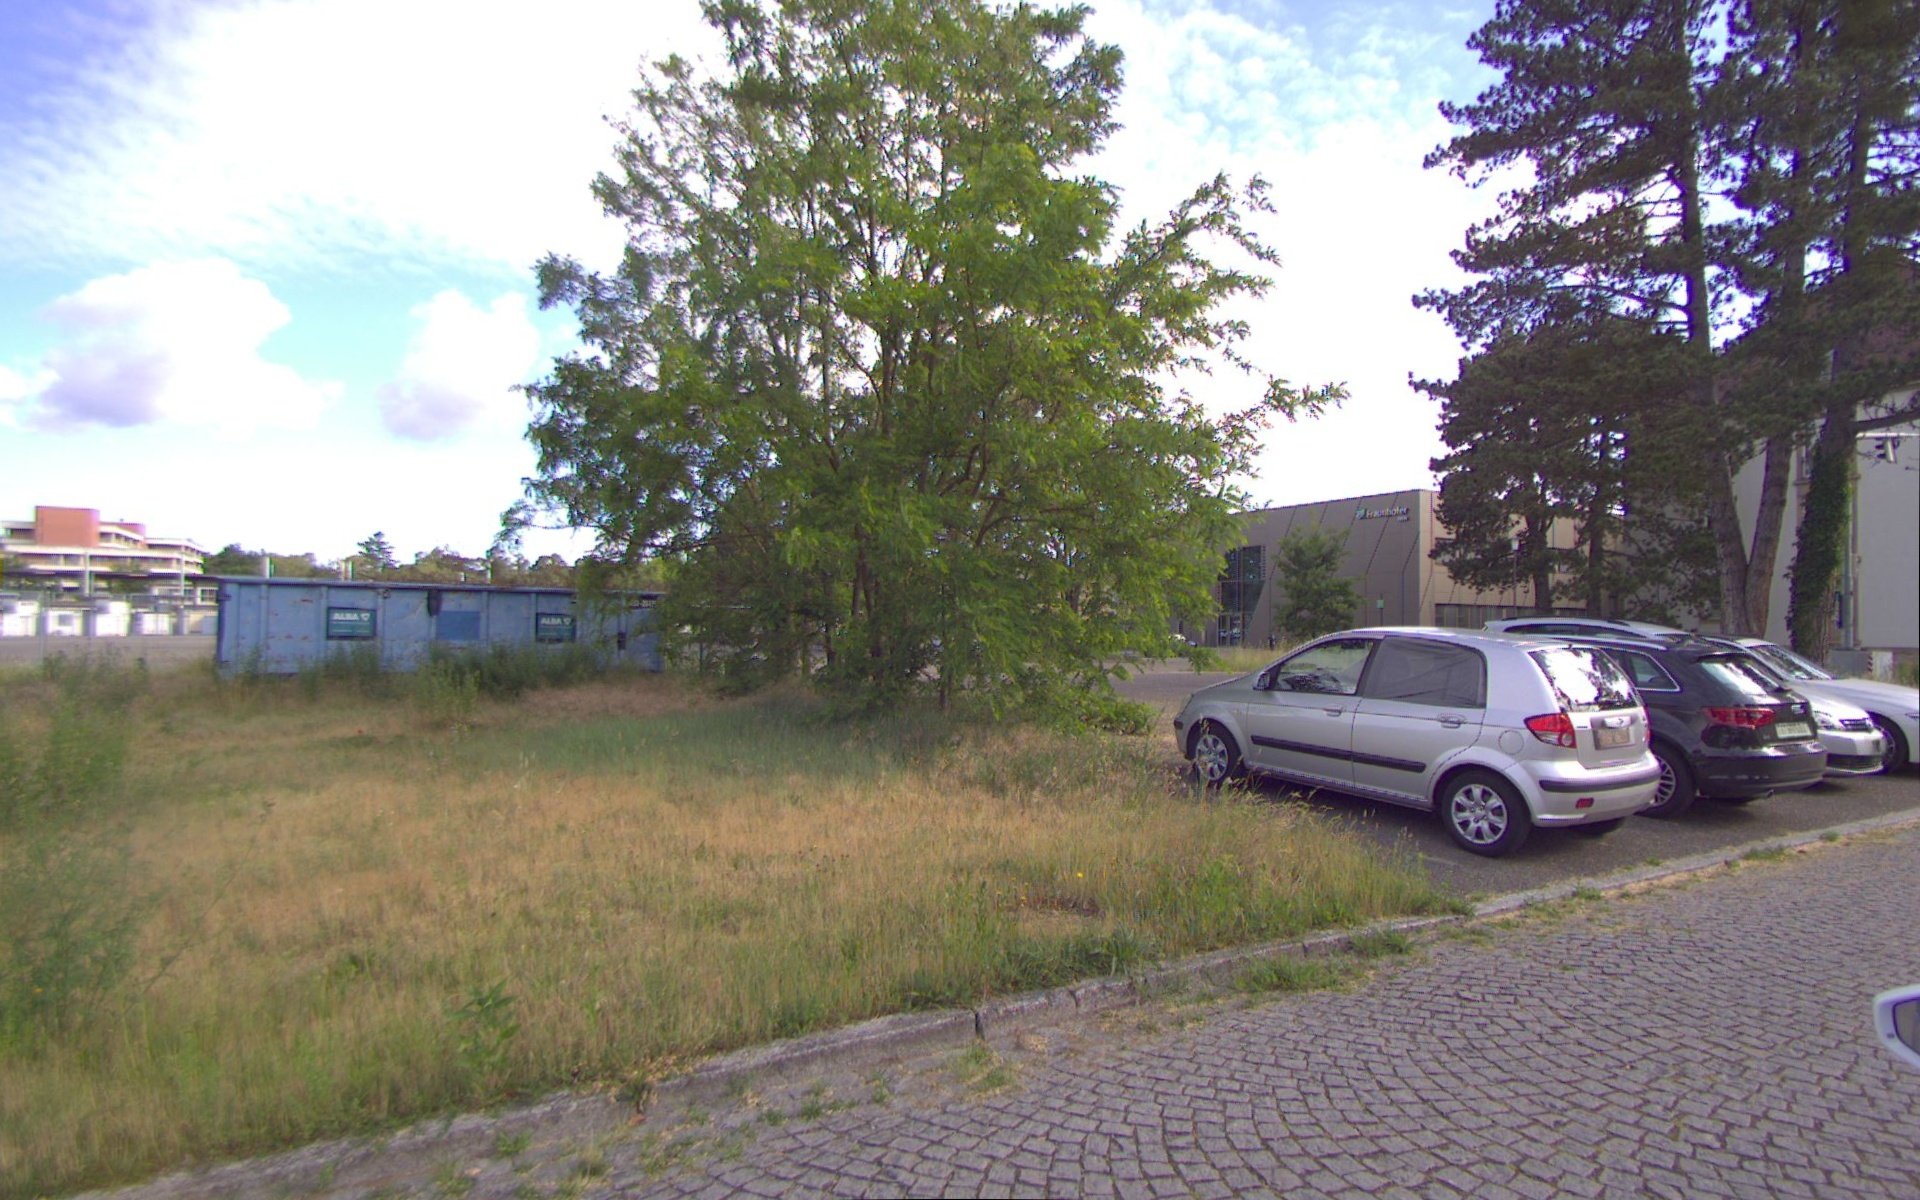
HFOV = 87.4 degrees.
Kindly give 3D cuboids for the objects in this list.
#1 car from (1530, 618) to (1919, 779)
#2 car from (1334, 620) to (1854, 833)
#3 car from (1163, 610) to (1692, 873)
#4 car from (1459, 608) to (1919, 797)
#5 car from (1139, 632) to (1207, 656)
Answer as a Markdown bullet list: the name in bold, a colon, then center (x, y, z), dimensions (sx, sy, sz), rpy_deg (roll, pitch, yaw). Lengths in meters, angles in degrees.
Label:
- **car**: center (9.967, 1.103, 12.689), dimensions (1.811, 1.461, 4.451), rpy_deg (1, 2, -33)
- **car**: center (5.707, 0.992, 9.544), dimensions (1.676, 1.427, 3.817), rpy_deg (1, 1, -30)
- **car**: center (3.509, 0.909, 8.151), dimensions (1.629, 1.495, 3.556), rpy_deg (2, 1, -32)
- **car**: center (7.944, 0.977, 11.311), dimensions (1.717, 1.628, 3.809), rpy_deg (1, 1, -32)
- **car**: center (13.516, 2.794, 63.828), dimensions (4.078, 1.433, 1.752), rpy_deg (1, -2, -27)
